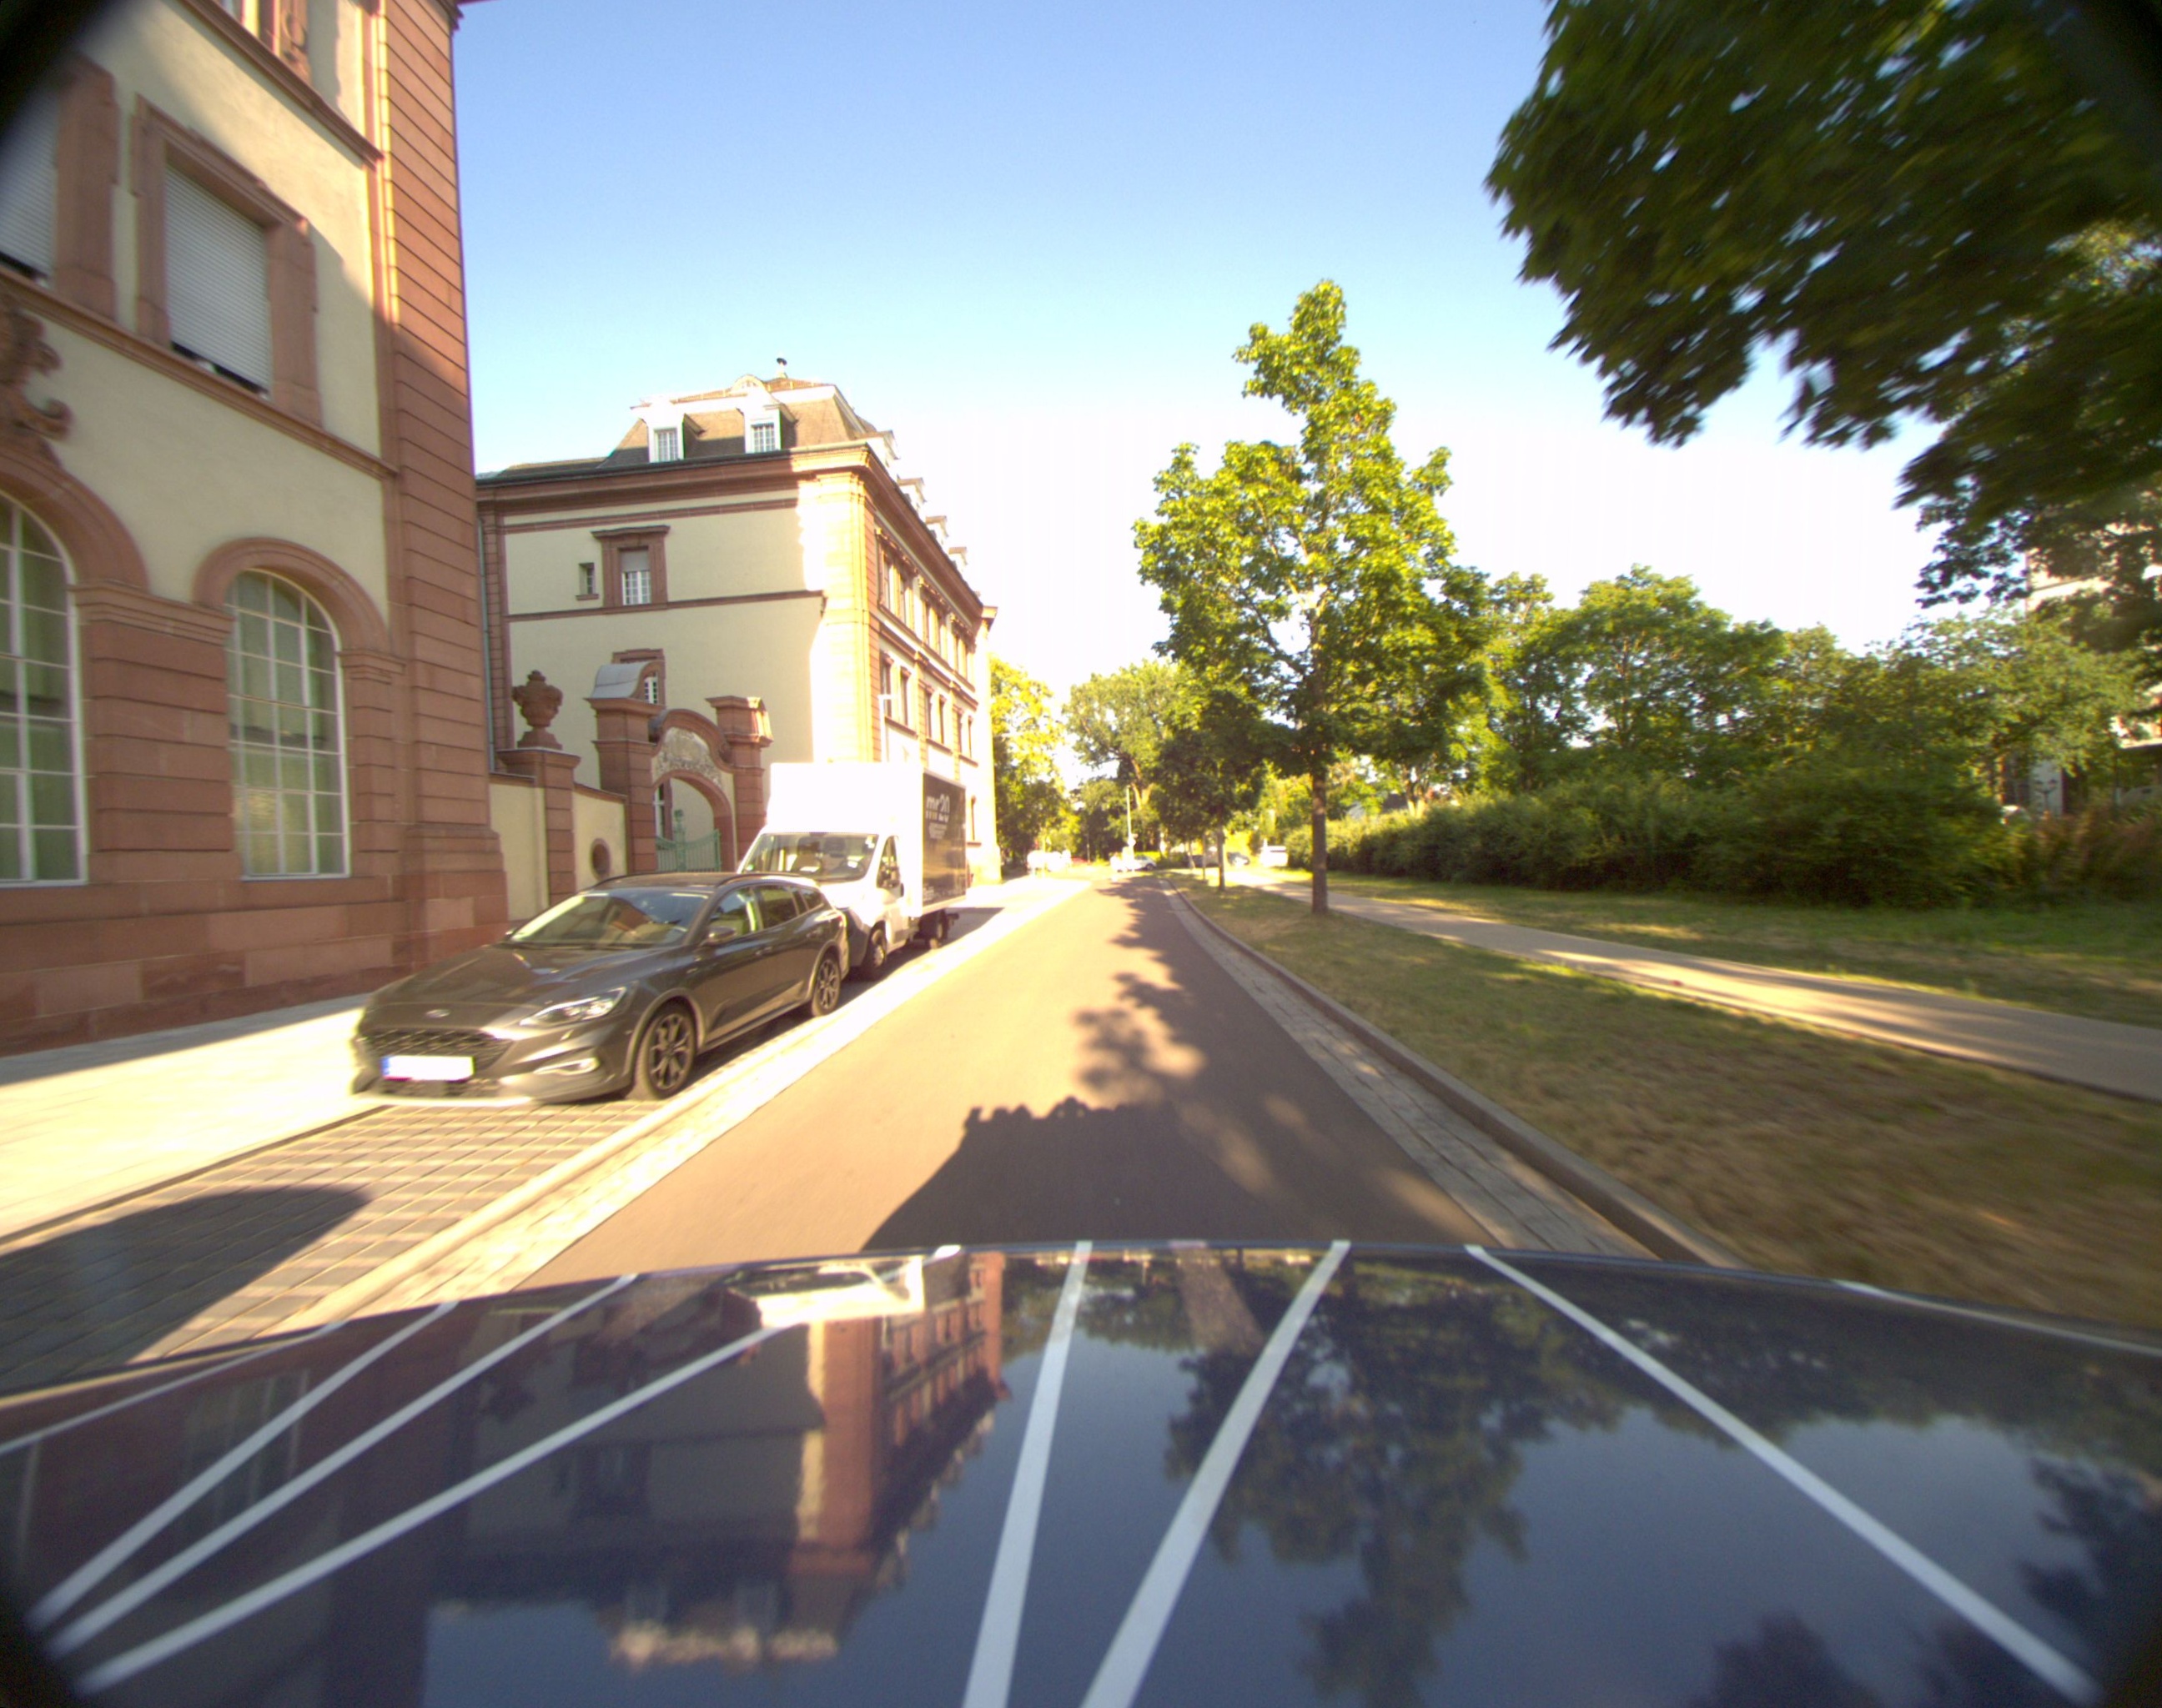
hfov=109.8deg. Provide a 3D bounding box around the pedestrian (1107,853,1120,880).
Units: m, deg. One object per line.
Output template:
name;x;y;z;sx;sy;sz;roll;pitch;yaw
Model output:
pedestrian;2.062;0.813;48.149;0.534;1.708;1.002;0;-2;-12

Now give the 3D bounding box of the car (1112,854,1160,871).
car;5.376;0.831;74.894;4.347;1.525;1.782;-2;-1;-12

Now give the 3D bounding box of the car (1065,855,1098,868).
car;0.064;0.918;91.074;3.681;1.412;1.716;-2;0;-15

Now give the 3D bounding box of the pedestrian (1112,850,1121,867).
pedestrian;4.007;0.521;84.926;0.615;1.906;0.721;0;-5;-35

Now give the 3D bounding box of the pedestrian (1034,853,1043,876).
pedestrian;-3.513;0.896;62.782;0.613;1.828;0.726;-2;-2;-11

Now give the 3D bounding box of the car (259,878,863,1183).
car;-3.556;1.042;6.489;1.772;1.521;4.573;0;0;4

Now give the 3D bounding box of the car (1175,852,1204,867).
car;11.513;0.568;80.877;1.646;1.508;3.994;-2;2;-15

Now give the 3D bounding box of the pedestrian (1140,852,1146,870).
pedestrian;6.394;0.738;78.435;0.435;1.764;0.666;-3;0;-8

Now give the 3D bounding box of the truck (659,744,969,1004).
truck;-3.664;0.247;12.178;2.630;3.102;6.088;0;0;2

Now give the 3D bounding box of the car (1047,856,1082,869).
car;-2.101;1.042;96.292;4.061;1.412;1.716;-2;0;-15

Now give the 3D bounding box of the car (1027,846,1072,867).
car;-4.471;0.334;108.173;5.913;2.684;2.218;-2;0;-15

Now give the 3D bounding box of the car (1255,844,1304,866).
car;19.052;0.071;72.984;4.240;1.905;1.761;-2;0;-13

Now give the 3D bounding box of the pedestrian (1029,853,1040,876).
pedestrian;-3.796;0.870;61.921;0.717;1.829;0.789;-2;-1;-11

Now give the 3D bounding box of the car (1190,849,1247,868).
car;12.895;0.417;71.393;4.839;1.549;1.866;-2;0;-13
